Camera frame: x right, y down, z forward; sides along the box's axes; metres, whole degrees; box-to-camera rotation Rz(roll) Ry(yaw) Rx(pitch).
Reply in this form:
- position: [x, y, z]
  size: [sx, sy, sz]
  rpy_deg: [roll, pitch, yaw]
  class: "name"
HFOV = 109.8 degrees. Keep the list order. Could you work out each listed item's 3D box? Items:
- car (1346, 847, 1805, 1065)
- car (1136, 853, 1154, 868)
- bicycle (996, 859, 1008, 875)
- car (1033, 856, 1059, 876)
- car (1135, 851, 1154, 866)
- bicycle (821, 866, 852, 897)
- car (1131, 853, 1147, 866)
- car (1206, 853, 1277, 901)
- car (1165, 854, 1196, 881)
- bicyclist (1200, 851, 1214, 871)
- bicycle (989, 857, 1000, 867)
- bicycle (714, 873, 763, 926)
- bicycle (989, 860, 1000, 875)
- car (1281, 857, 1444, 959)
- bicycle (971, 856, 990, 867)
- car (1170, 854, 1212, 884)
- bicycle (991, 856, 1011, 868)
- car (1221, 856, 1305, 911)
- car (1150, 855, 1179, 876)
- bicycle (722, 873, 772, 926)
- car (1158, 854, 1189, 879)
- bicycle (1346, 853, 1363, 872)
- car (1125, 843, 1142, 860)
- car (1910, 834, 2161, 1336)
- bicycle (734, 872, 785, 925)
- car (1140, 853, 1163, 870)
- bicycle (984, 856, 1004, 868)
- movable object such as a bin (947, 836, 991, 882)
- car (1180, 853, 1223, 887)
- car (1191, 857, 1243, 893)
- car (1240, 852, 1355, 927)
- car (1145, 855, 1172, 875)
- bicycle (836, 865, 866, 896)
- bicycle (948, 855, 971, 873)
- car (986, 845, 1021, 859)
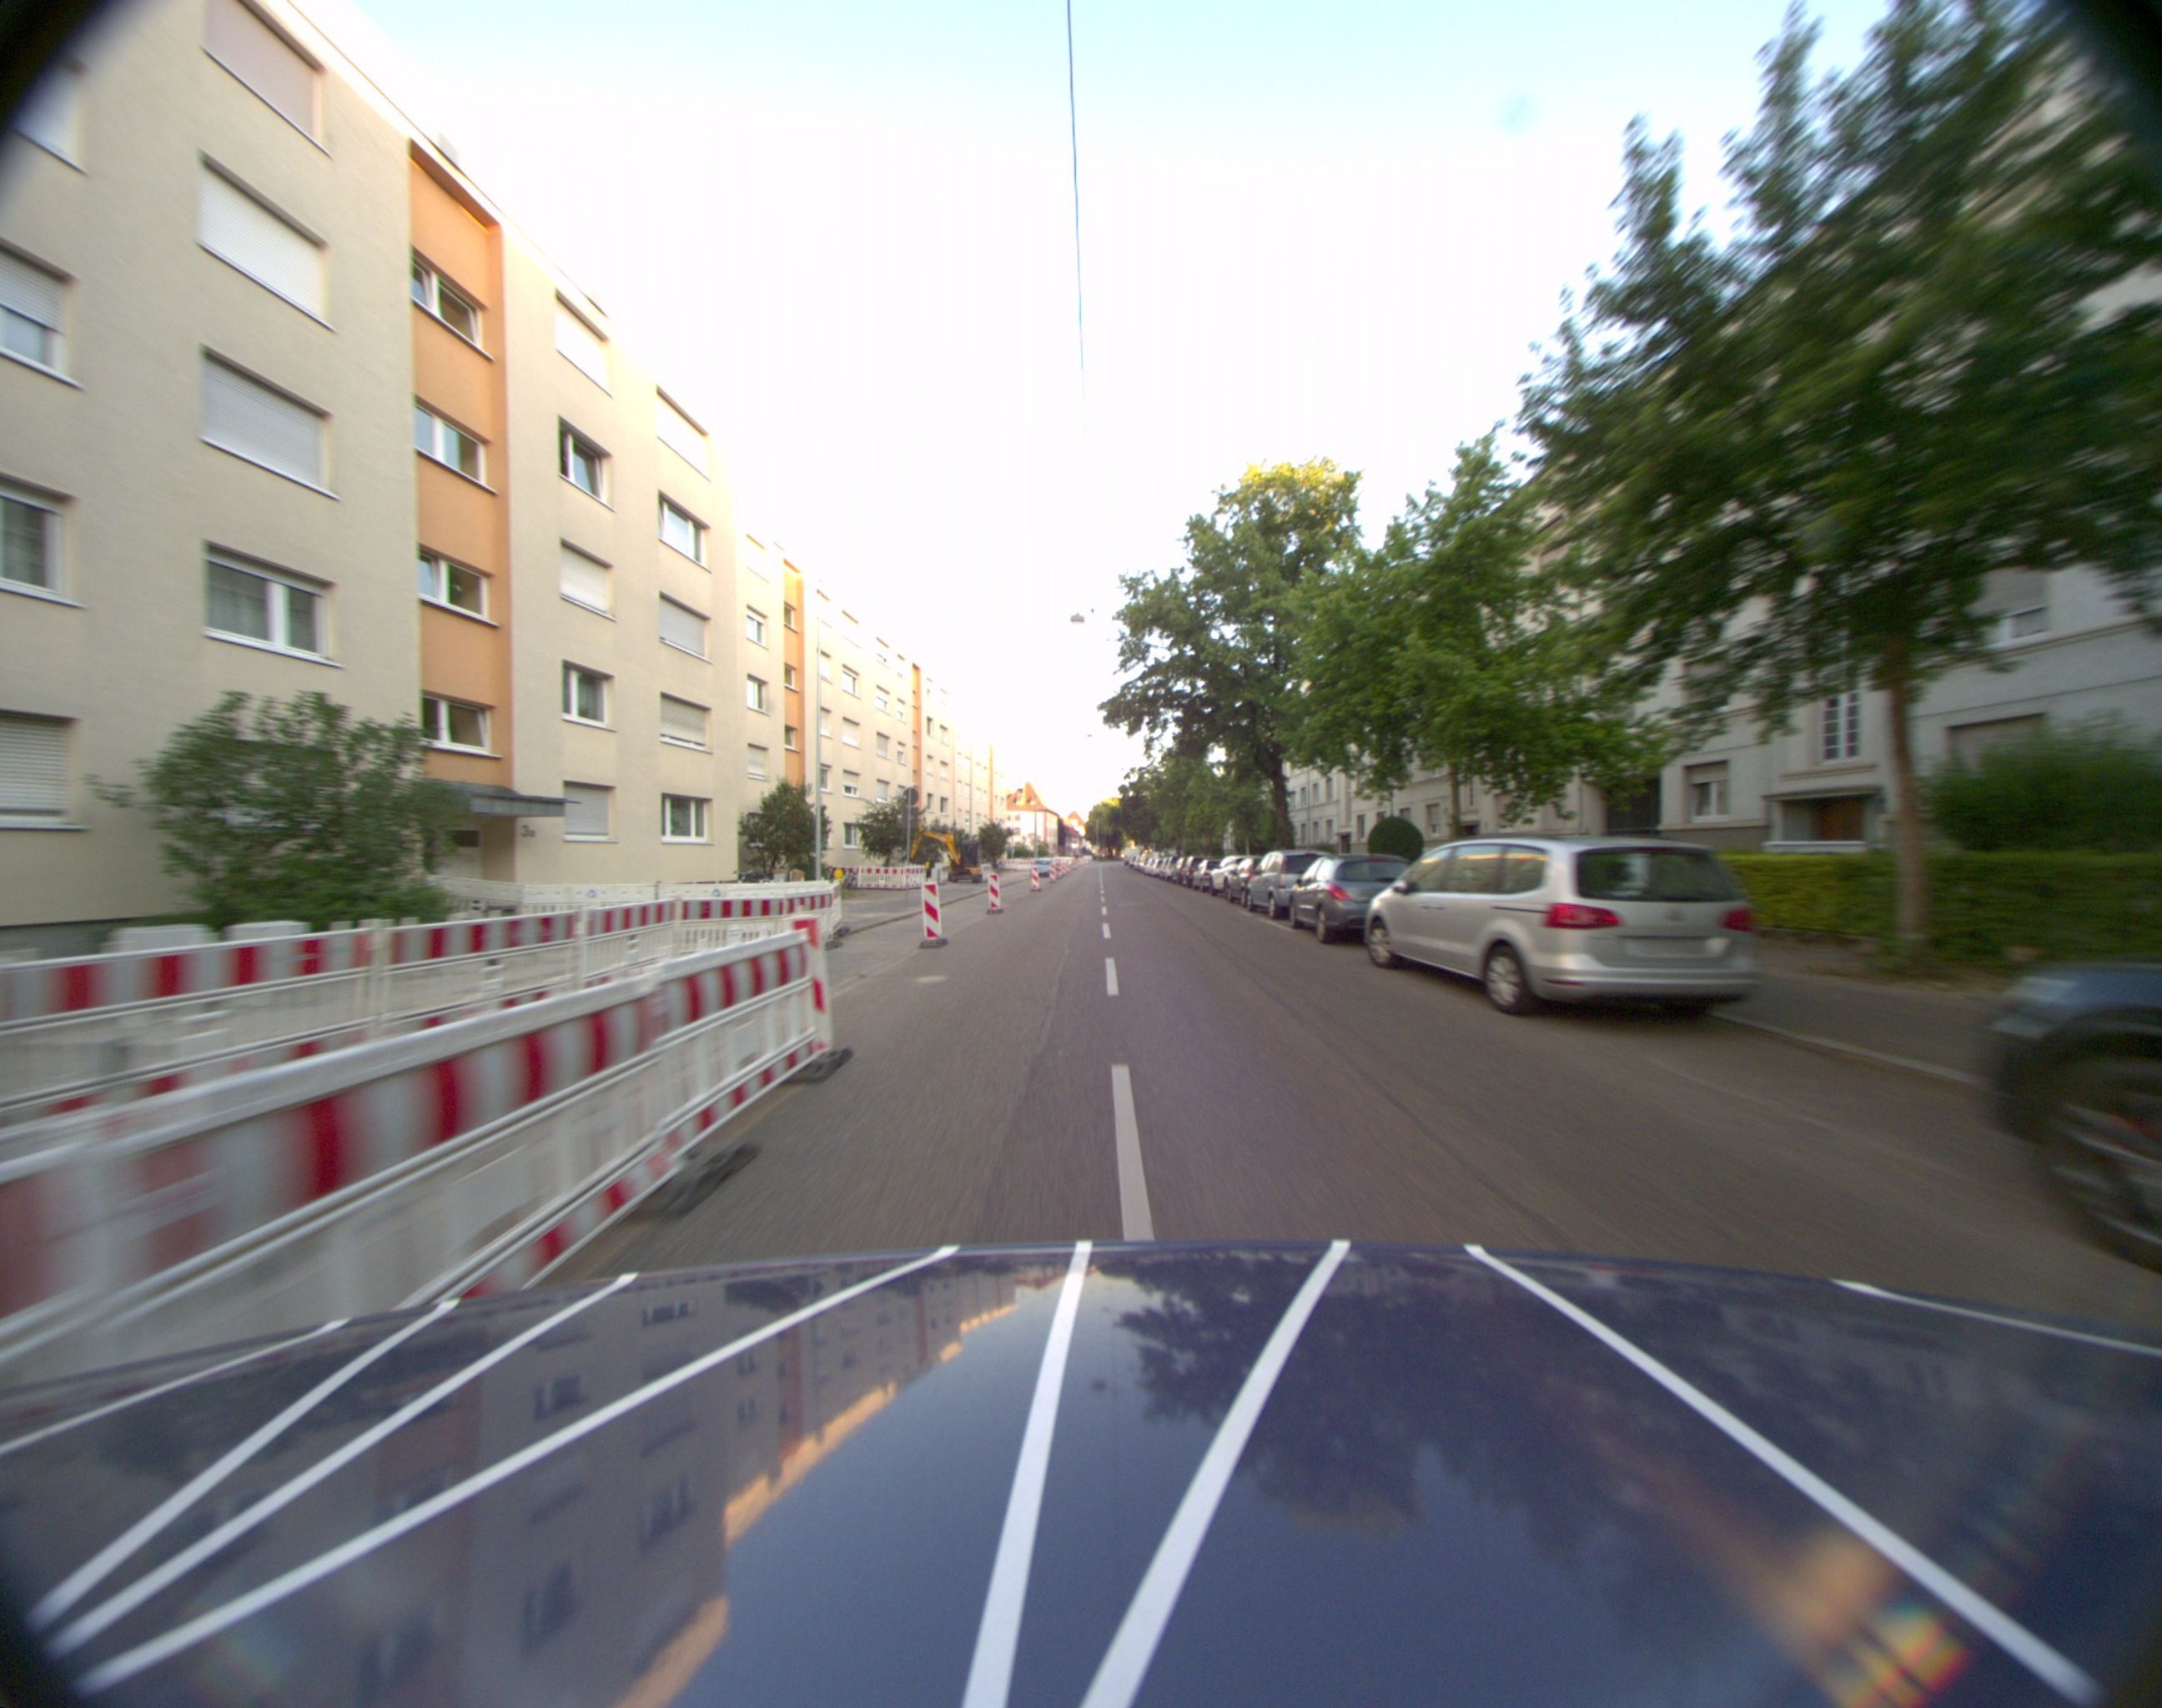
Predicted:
- position: [4.733, 0.794, 8.402]
  size: [1.851, 1.681, 4.858]
  rpy_deg: [1, 0, 0]
  class: "car"
- position: [6.845, 0.724, 81.598]
  size: [1.756, 1.471, 3.945]
  rpy_deg: [2, 0, 3]
  class: "car"
- position: [-6.259, 1.014, 60.131]
  size: [0.558, 1.165, 1.814]
  rpy_deg: [-1, 0, -18]
  class: "bicycle"
- position: [-2.929, 1.001, 64.542]
  size: [1.780, 1.482, 4.574]
  rpy_deg: [3, 0, 3]
  class: "car"
- position: [7.159, 0.494, 86.184]
  size: [1.757, 1.622, 4.107]
  rpy_deg: [2, 0, 0]
  class: "car"
- position: [-10.070, 1.120, 31.391]
  size: [0.557, 1.165, 1.817]
  rpy_deg: [-1, 0, 4]
  class: "bicycle"
- position: [6.984, 0.687, 91.556]
  size: [1.756, 1.463, 4.224]
  rpy_deg: [2, 0, 3]
  class: "car"
- position: [5.744, 0.769, 27.663]
  size: [1.594, 1.530, 4.206]
  rpy_deg: [2, 0, -1]
  class: "car"
- position: [5.987, 0.796, 46.022]
  size: [1.593, 1.520, 2.922]
  rpy_deg: [2, 0, 3]
  class: "car"
- position: [9.201, 0.508, 55.500]
  size: [0.810, 1.396, 0.973]
  rpy_deg: [-1, 1, 1]
  class: "bicyclist"
- position: [-8.642, 0.804, 76.105]
  size: [0.559, 0.860, 1.610]
  rpy_deg: [4, 2, -26]
  class: "bicycle"
- position: [-8.638, 1.114, 19.226]
  size: [0.399, 1.215, 1.826]
  rpy_deg: [-1, 0, 0]
  class: "bicycle"
- position: [-6.792, 1.036, 59.643]
  size: [0.628, 1.165, 1.814]
  rpy_deg: [-1, 0, -15]
  class: "bicycle"
- position: [4.903, 0.841, 13.875]
  size: [1.736, 1.488, 4.272]
  rpy_deg: [1, 0, 6]
  class: "car"
- position: [-9.791, 0.743, 74.060]
  size: [1.821, 0.916, 0.556]
  rpy_deg: [3, 2, -39]
  class: "bicycle"
- position: [5.912, 0.775, 41.334]
  size: [1.594, 1.458, 4.101]
  rpy_deg: [2, 0, 0]
  class: "car"
- position: [-7.905, 0.810, 74.798]
  size: [1.815, 1.017, 0.558]
  rpy_deg: [4, 2, 2]
  class: "bicycle"
- position: [5.470, 0.837, 23.307]
  size: [1.711, 1.443, 3.843]
  rpy_deg: [2, 0, 2]
  class: "car"
- position: [6.204, 0.830, 56.598]
  size: [1.696, 1.451, 4.483]
  rpy_deg: [2, 0, 1]
  class: "car"
- position: [-8.388, 1.107, 19.152]
  size: [0.399, 1.215, 1.911]
  rpy_deg: [-1, 0, 0]
  class: "bicycle"
- position: [6.103, 0.802, 50.313]
  size: [1.594, 1.496, 3.799]
  rpy_deg: [2, 0, 1]
  class: "car"
- position: [17.978, 0.535, 50.004]
  size: [0.557, 1.223, 1.817]
  rpy_deg: [-1, 0, 4]
  class: "bicycle"
- position: [7.626, -0.369, 110.803]
  size: [2.184, 2.447, 6.103]
  rpy_deg: [2, 0, 1]
  class: "car"
- position: [4.648, 0.814, 0.970]
  size: [1.958, 1.709, 4.771]
  rpy_deg: [1, 0, 1]
  class: "car"
- position: [-8.111, 1.097, 19.235]
  size: [0.453, 1.215, 1.911]
  rpy_deg: [-1, 0, 0]
  class: "bicycle"
- position: [6.586, 0.679, 71.090]
  size: [1.679, 1.451, 3.704]
  rpy_deg: [2, 0, -1]
  class: "car"
- position: [-8.323, 0.800, 73.072]
  size: [1.755, 0.981, 0.558]
  rpy_deg: [5, 2, 11]
  class: "bicycle"
- position: [-6.742, 0.276, 45.950]
  size: [1.937, 2.677, 2.892]
  rpy_deg: [-1, 0, 6]
  class: "movable object such as a bin"
- position: [5.840, 0.768, 37.168]
  size: [1.527, 1.520, 3.164]
  rpy_deg: [2, 0, 0]
  class: "car"
- position: [5.829, 0.865, 32.977]
  size: [1.594, 1.396, 4.181]
  rpy_deg: [2, 0, 2]
  class: "car"
- position: [5.208, 0.780, 18.861]
  size: [1.711, 1.591, 4.117]
  rpy_deg: [2, 0, 1]
  class: "car"
- position: [6.240, 0.897, 61.409]
  size: [1.696, 1.451, 4.144]
  rpy_deg: [2, 0, 0]
  class: "car"
- position: [-9.353, 1.065, 30.973]
  size: [0.557, 1.165, 1.817]
  rpy_deg: [-1, 0, 4]
  class: "bicycle"
- position: [-8.740, 0.727, 54.580]
  size: [1.597, 1.215, 0.485]
  rpy_deg: [-1, 1, -5]
  class: "bicycle"
- position: [-12.182, -0.254, 119.093]
  size: [5.029, 2.117, 2.291]
  rpy_deg: [-1, 1, 9]
  class: "car"
